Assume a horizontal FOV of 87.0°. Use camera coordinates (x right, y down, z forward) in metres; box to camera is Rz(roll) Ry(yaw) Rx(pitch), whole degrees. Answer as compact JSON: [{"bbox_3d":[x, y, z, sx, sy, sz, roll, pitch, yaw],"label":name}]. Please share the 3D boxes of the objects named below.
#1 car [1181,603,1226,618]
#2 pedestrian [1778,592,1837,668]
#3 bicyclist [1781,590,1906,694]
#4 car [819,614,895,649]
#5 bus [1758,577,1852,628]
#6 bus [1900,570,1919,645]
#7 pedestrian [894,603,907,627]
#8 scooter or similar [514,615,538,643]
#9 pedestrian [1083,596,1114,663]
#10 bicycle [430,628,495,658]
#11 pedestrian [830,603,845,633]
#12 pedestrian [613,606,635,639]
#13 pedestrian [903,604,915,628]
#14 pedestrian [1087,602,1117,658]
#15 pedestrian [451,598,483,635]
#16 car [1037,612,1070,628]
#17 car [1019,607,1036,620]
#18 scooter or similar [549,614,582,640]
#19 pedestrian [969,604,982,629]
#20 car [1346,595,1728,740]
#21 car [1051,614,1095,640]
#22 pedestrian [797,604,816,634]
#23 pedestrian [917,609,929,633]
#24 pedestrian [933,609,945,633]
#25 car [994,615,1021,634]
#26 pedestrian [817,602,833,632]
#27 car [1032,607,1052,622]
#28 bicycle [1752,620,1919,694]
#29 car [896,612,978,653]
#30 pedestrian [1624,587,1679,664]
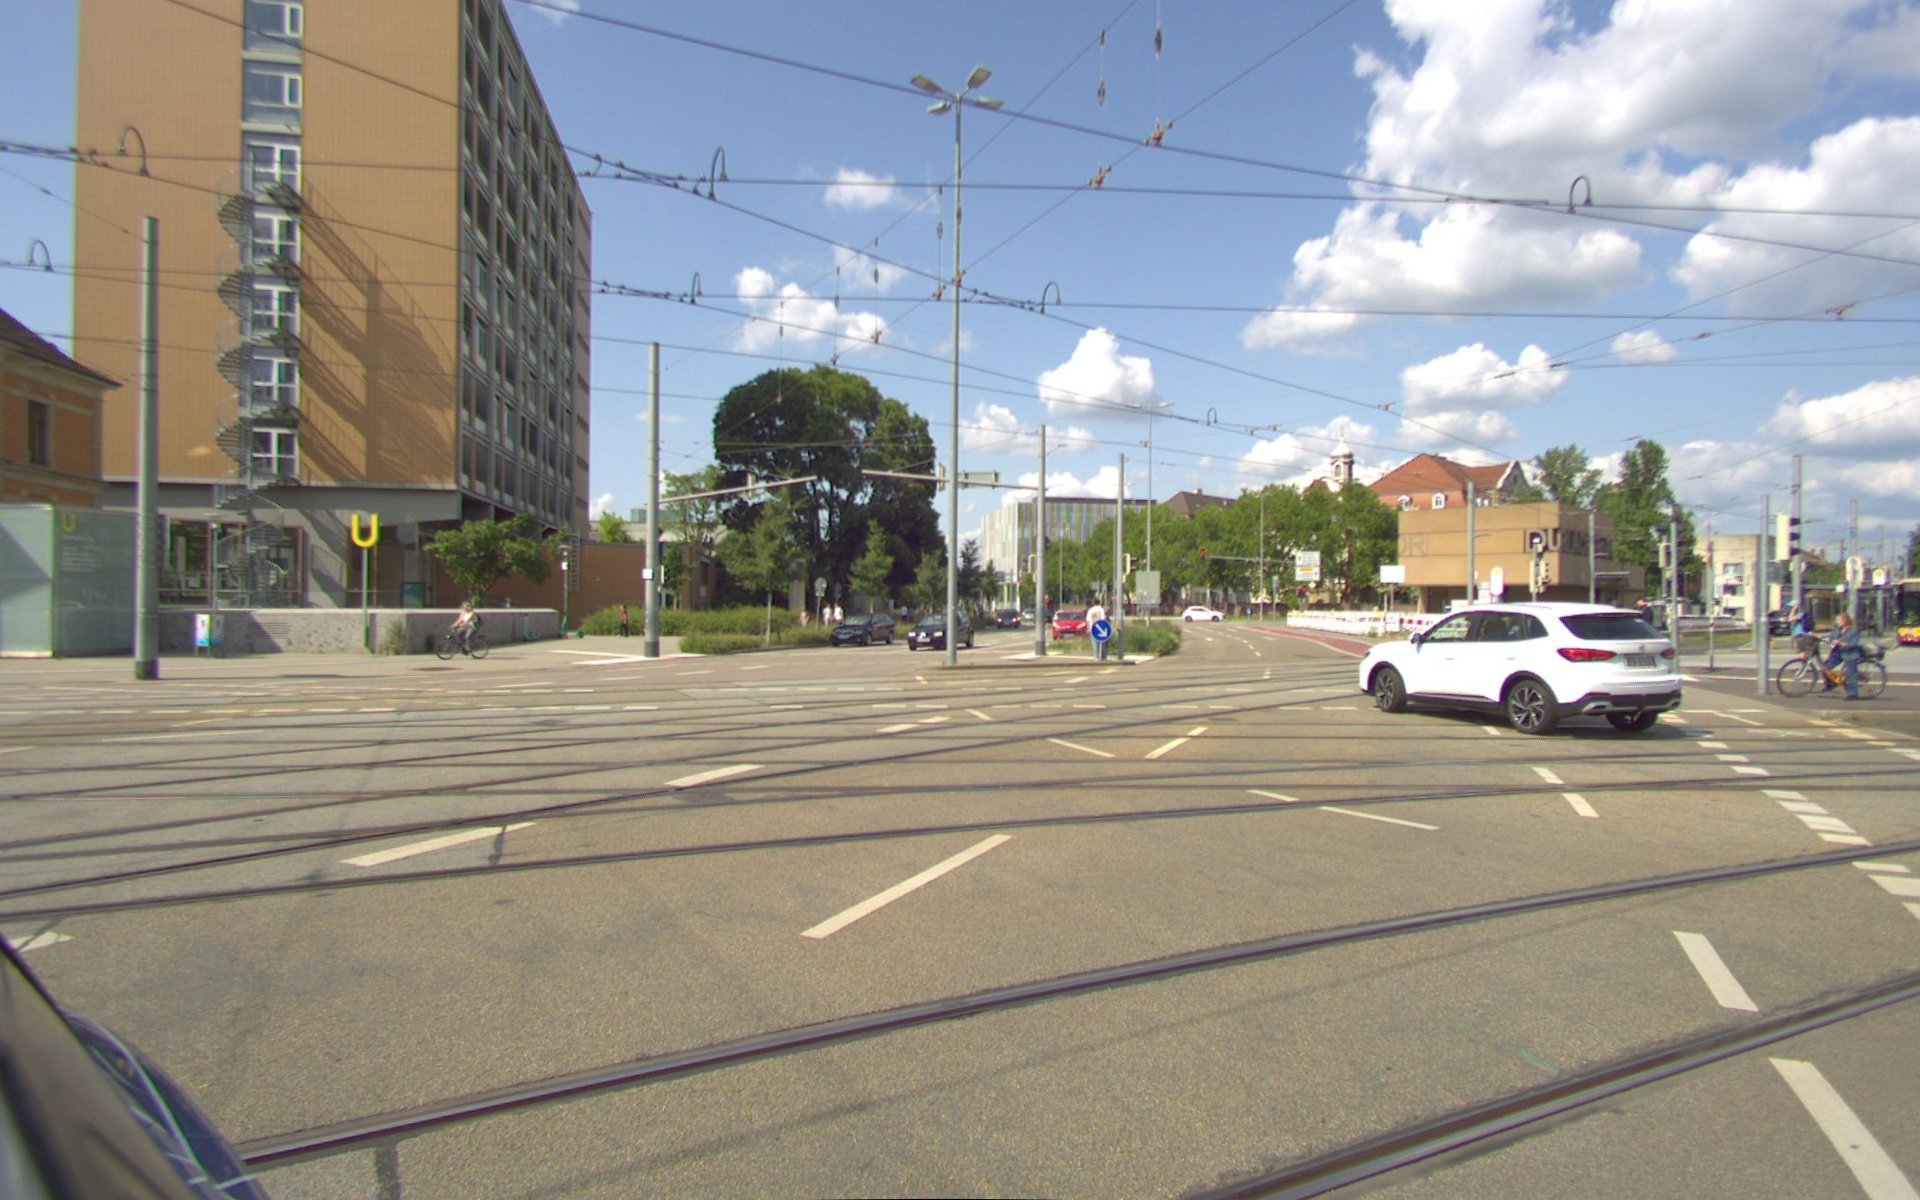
[{"bbox_3d":[23.467,1.015,97.501,3.971,1.364,1.767,-2,0,21],"label":"car"},{"bbox_3d":[20.806,0.720,24.859,0.762,1.811,1.021,-2,-1,22],"label":"pedestrian"},{"bbox_3d":[15.348,0.701,17.625,1.288,1.744,0.991,1,0,12],"label":"bicyclist"},{"bbox_3d":[-4.588,1.369,45.598,1.814,1.474,3.970,-1,-1,22],"label":"car"},{"bbox_3d":[61.945,0.252,73.792,3.478,3.208,23.432,0,-1,44],"label":"bus"},{"bbox_3d":[45.302,0.347,46.380,2.836,3.160,12.652,-1,-1,45],"label":"bus"},{"bbox_3d":[-4.413,1.145,75.635,0.736,1.759,0.887,2,0,9],"label":"pedestrian"},{"bbox_3d":[-18.111,1.212,42.260,0.459,1.126,1.449,1,-1,-6],"label":"scooter or similar"},{"bbox_3d":[4.038,0.850,29.498,0.842,1.931,0.689,0,0,14],"label":"pedestrian"},{"bbox_3d":[-15.530,1.320,31.650,0.645,0.887,1.806,1,-1,26],"label":"bicycle"},{"bbox_3d":[-7.210,1.044,59.421,0.609,1.713,0.887,2,0,9],"label":"pedestrian"},{"bbox_3d":[-16.793,1.119,50.589,0.875,1.634,0.617,2,0,-9],"label":"pedestrian"},{"bbox_3d":[-3.801,1.166,75.419,0.736,1.767,0.887,2,0,9],"label":"pedestrian"},{"bbox_3d":[4.272,0.891,30.408,0.842,1.660,0.689,0,0,14],"label":"pedestrian"},{"bbox_3d":[-22.303,0.744,45.798,0.614,1.634,1.084,2,1,32],"label":"pedestrian"},{"bbox_3d":[6.907,1.470,74.235,1.891,1.142,4.085,-1,-1,13],"label":"car"},{"bbox_3d":[7.930,1.601,118.439,1.886,1.446,4.095,-1,-1,6],"label":"car"},{"bbox_3d":[-17.727,1.214,45.505,1.296,1.112,0.467,2,-1,-31],"label":"scooter or similar"},{"bbox_3d":[1.299,1.385,84.455,0.955,2.029,0.765,-2,-1,12],"label":"pedestrian"},{"bbox_3d":[7.599,0.798,13.904,2.008,1.651,4.301,1,-1,-19],"label":"car"},{"bbox_3d":[5.587,1.320,49.831,1.584,1.142,3.610,-2,-1,16],"label":"car"},{"bbox_3d":[-8.599,1.073,56.571,0.612,1.634,0.882,2,1,25],"label":"pedestrian"},{"bbox_3d":[-2.687,1.511,73.522,0.759,1.748,0.718,-2,-1,6],"label":"pedestrian"},{"bbox_3d":[-1.536,1.536,73.576,0.759,1.748,0.718,-2,-1,6],"label":"pedestrian"},{"bbox_3d":[3.913,1.986,83.415,1.806,1.474,3.989,-1,-1,9],"label":"car"},{"bbox_3d":[-7.939,1.009,59.554,0.609,1.713,0.887,2,0,9],"label":"pedestrian"},{"bbox_3d":[8.505,1.484,104.590,1.886,1.446,4.095,-1,-1,6],"label":"car"},{"bbox_3d":[15.382,0.976,17.623,2.277,1.197,0.991,1,0,13],"label":"bicycle"},{"bbox_3d":[-0.850,1.234,39.524,1.814,1.474,3.971,-1,-1,21],"label":"car"},{"bbox_3d":[17.786,0.653,26.041,0.754,1.917,0.829,-2,-1,-17],"label":"pedestrian"}]
